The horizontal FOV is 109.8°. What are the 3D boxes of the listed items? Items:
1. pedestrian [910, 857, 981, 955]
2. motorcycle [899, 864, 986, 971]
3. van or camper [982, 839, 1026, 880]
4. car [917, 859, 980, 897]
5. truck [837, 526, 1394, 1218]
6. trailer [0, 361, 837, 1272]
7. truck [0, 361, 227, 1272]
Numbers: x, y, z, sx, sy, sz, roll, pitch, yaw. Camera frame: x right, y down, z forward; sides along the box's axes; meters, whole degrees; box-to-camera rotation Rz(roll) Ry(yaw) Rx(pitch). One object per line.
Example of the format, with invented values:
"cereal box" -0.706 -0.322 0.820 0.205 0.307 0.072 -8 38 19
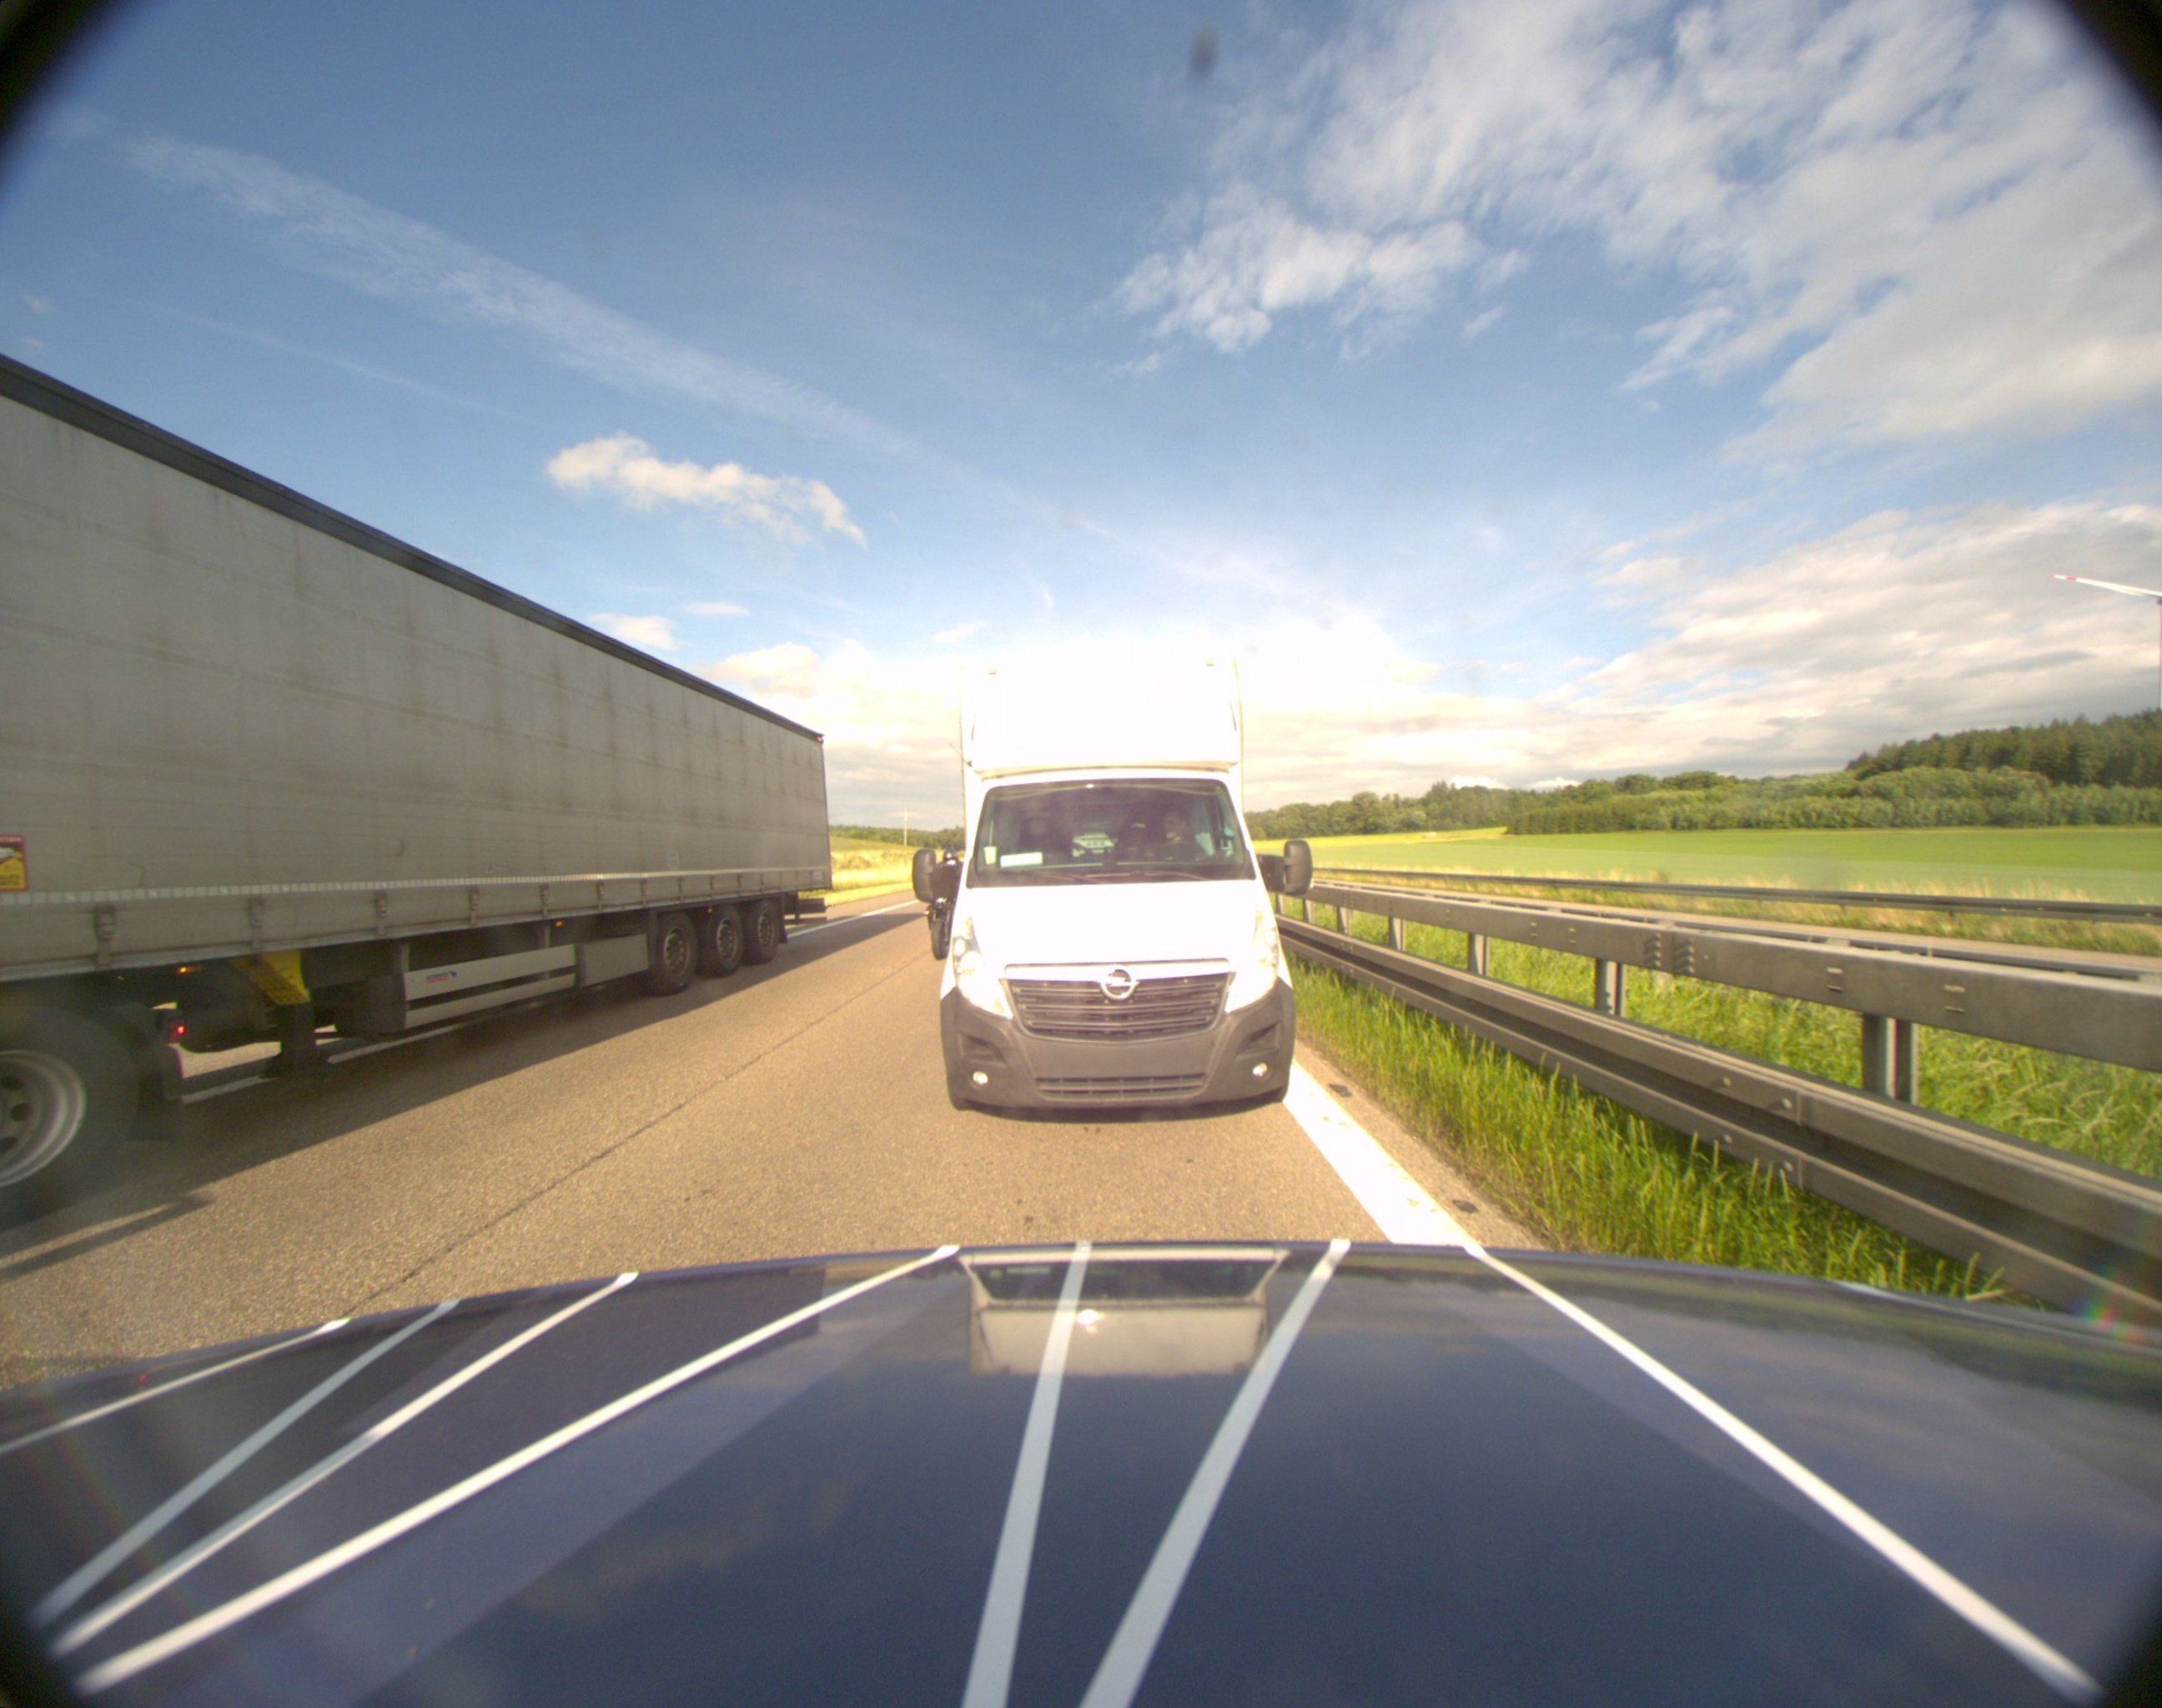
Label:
"pedestrian" -2.103 0.790 11.940 0.898 1.447 0.983 -1 1 0
"motorcycle" -2.104 0.921 11.931 0.898 1.447 2.269 -1 1 0
"van or camper" -4.995 0.293 50.135 2.102 2.530 6.412 -1 1 1
"car" -5.679 1.010 33.173 1.871 1.409 4.461 -1 1 1
"truck" 0.153 0.096 9.096 2.502 3.141 11.162 -1 0 0
"trailer" -6.072 -0.179 7.793 2.623 4.017 13.697 -1 0 0
"truck" -6.061 -0.141 1.090 2.607 4.017 6.119 -1 1 0
